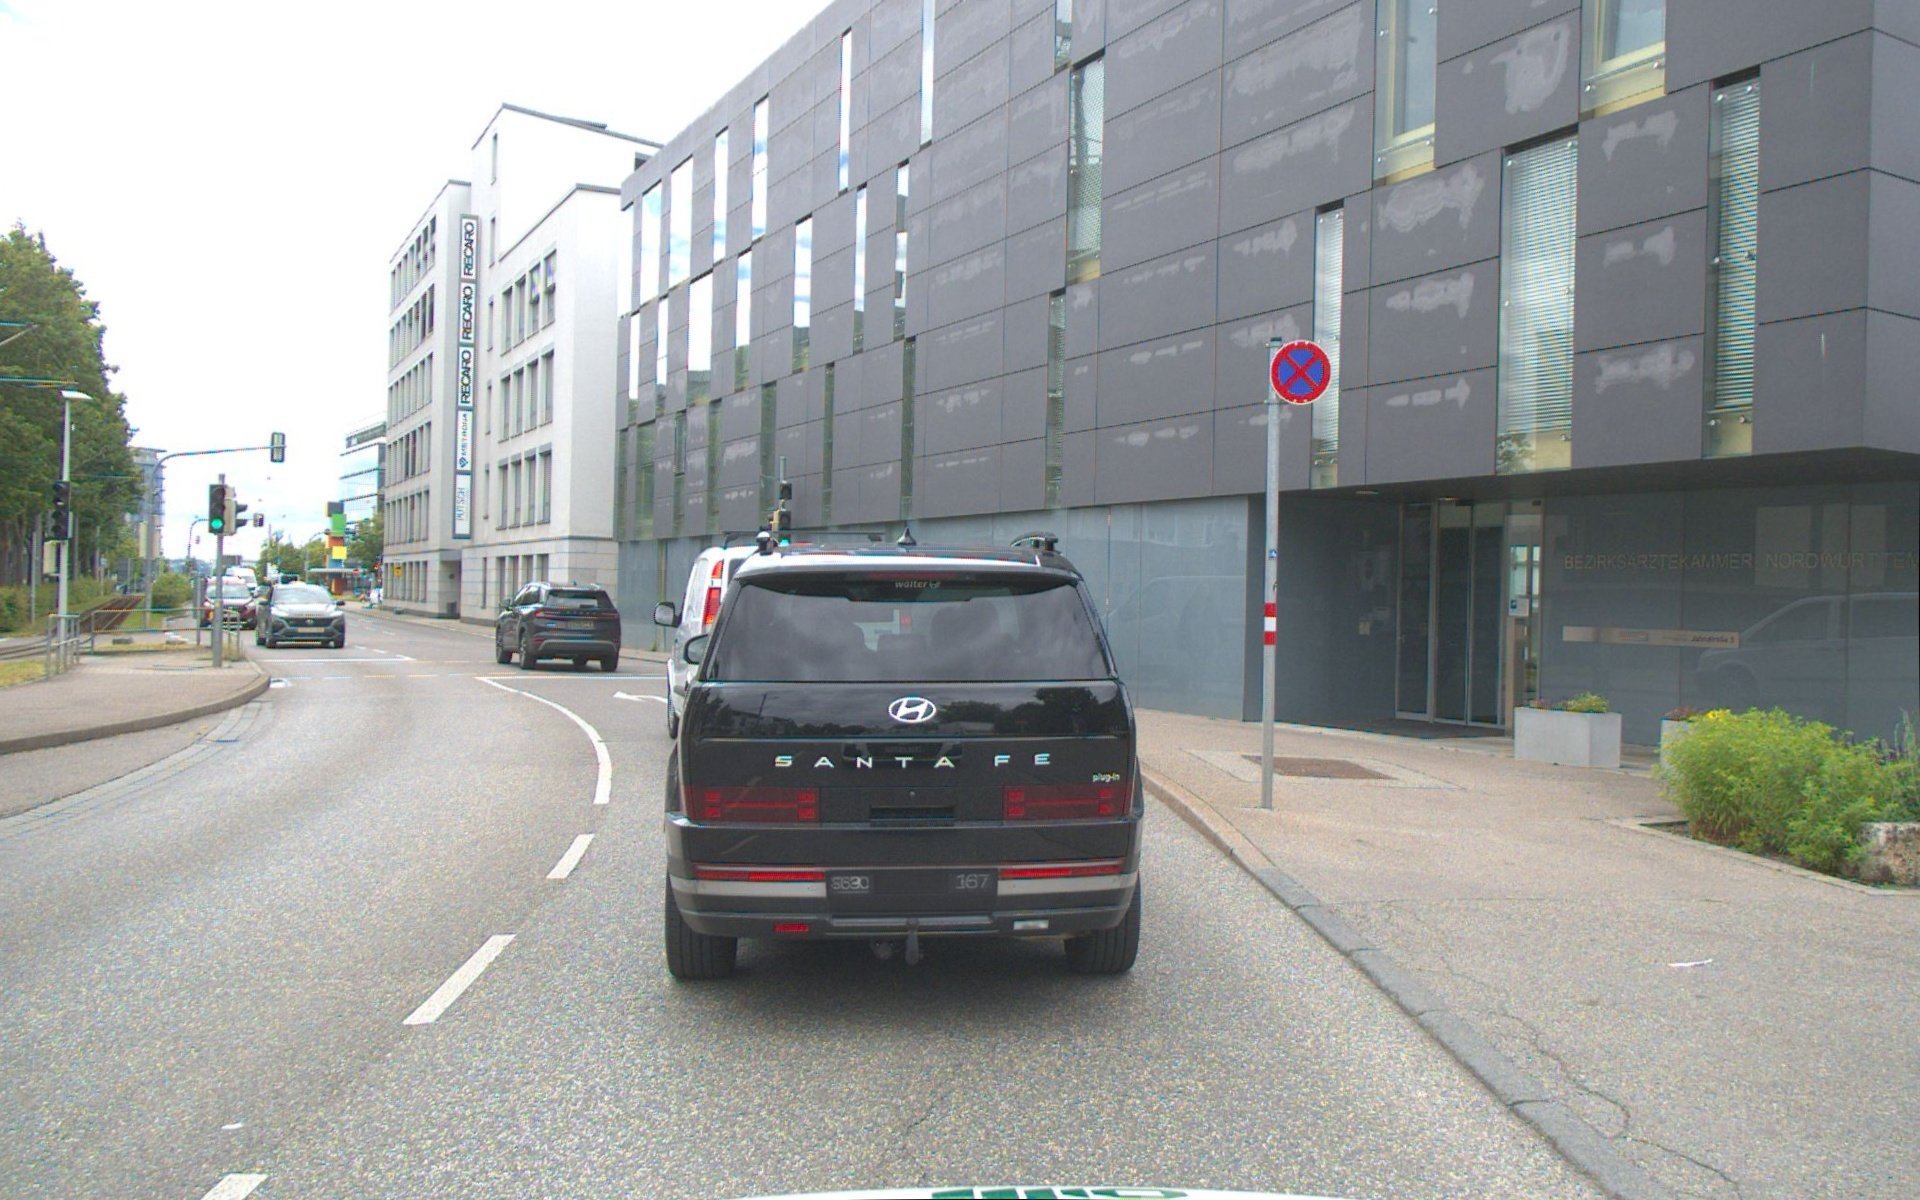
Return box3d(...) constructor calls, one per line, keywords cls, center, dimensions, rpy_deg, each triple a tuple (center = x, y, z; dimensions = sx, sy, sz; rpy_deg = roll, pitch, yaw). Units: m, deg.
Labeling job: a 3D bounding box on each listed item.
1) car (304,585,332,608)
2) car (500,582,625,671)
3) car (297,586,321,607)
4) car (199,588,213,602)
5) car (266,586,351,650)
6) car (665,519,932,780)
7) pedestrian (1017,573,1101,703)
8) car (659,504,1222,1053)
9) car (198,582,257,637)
box3d(cls="car", center=(-46.166, -0.264, 118.847), dimensions=(1.735, 1.637, 4.159), rpy_deg=(1, 0, -23))
box3d(cls="car", center=(-7.860, 0.482, 32.488), dimensions=(1.735, 1.637, 4.159), rpy_deg=(1, 0, -23))
box3d(cls="car", center=(-53.260, -0.325, 135.302), dimensions=(1.735, 1.637, 4.159), rpy_deg=(1, 0, -23))
box3d(cls="car", center=(-98.957, -0.662, 217.164), dimensions=(1.645, 1.915, 3.969), rpy_deg=(1, 0, -24))
box3d(cls="car", center=(-16.338, 0.424, 41.394), dimensions=(1.745, 1.504, 3.968), rpy_deg=(-1, 0, -25))
box3d(cls="car", center=(-1.654, 0.390, 15.302), dimensions=(1.898, 2.029, 4.520), rpy_deg=(1, 0, -13))
box3d(cls="pedestrian", center=(1.339, 0.508, 22.430), dimensions=(0.707, 1.724, 0.853), rpy_deg=(2, -1, -39))
box3d(cls="car", center=(-0.299, 0.574, 7.668), dimensions=(1.872, 1.780, 4.390), rpy_deg=(0, 0, -7))
box3d(cls="car", center=(-25.450, 0.307, 57.410), dimensions=(1.661, 1.840, 4.313), rpy_deg=(-1, 0, -27))
